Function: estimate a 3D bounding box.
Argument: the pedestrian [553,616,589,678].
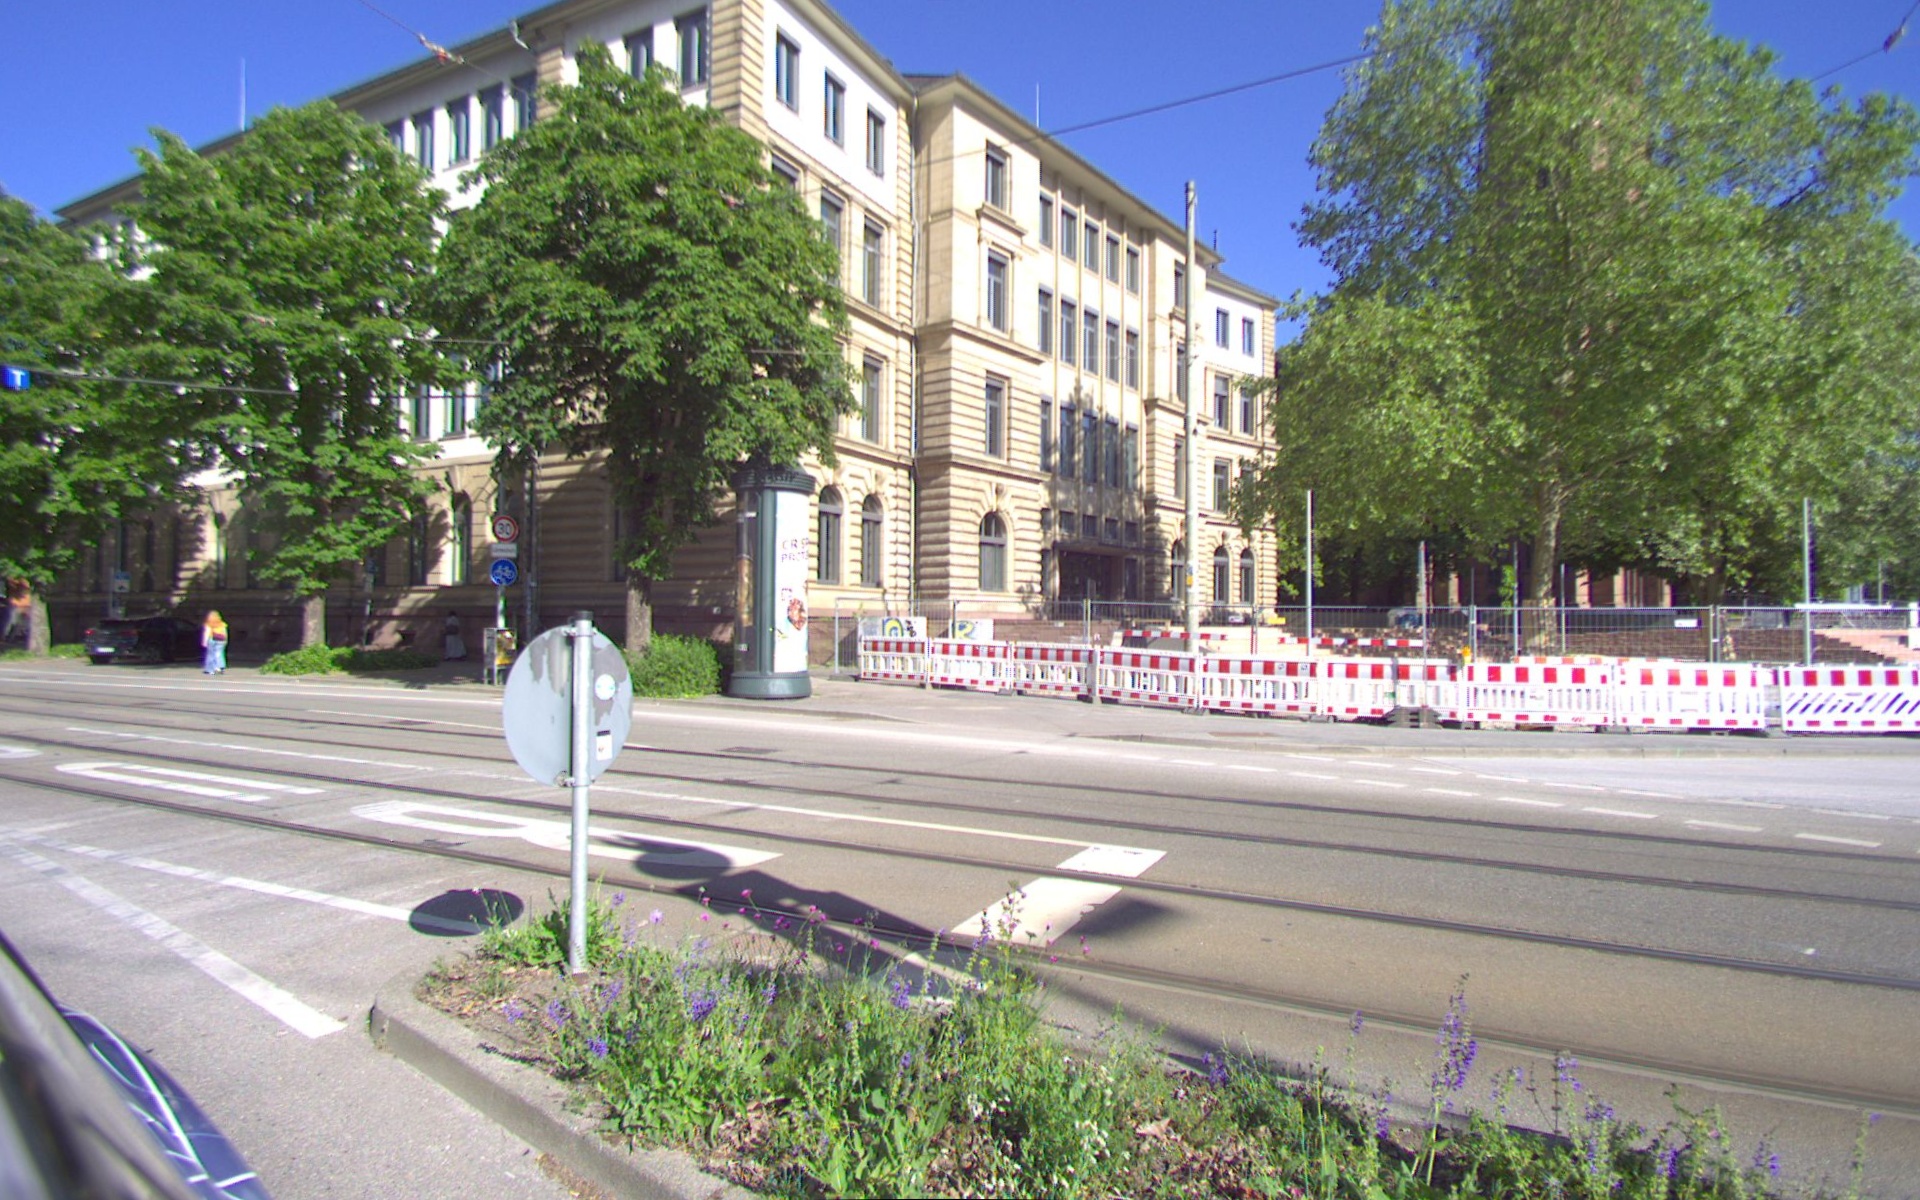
[{"bbox_3d":[-10.020,1.196,26.071,0.651,1.574,0.573,-1,-2,29],"label":"pedestrian"}]

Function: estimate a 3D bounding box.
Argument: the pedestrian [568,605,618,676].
[{"bbox_3d":[-9.049,0.979,24.969,0.838,1.682,0.726,2,0,14],"label":"pedestrian"}]

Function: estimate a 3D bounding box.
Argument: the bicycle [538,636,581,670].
[{"bbox_3d":[-11.461,1.500,28.962,1.356,0.910,0.394,0,0,31],"label":"bicycle"}]

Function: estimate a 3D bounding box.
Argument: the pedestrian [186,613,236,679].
[{"bbox_3d":[-19.994,1.233,27.023,1.031,1.682,0.763,-6,-6,34],"label":"pedestrian"}]

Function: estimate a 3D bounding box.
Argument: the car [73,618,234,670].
[{"bbox_3d":[-25.997,1.390,32.815,1.895,1.586,4.108,0,-2,1],"label":"car"}]

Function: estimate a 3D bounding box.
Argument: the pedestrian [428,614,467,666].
[{"bbox_3d":[-16.047,1.240,31.690,0.853,1.578,0.668,0,2,24],"label":"pedestrian"}]
